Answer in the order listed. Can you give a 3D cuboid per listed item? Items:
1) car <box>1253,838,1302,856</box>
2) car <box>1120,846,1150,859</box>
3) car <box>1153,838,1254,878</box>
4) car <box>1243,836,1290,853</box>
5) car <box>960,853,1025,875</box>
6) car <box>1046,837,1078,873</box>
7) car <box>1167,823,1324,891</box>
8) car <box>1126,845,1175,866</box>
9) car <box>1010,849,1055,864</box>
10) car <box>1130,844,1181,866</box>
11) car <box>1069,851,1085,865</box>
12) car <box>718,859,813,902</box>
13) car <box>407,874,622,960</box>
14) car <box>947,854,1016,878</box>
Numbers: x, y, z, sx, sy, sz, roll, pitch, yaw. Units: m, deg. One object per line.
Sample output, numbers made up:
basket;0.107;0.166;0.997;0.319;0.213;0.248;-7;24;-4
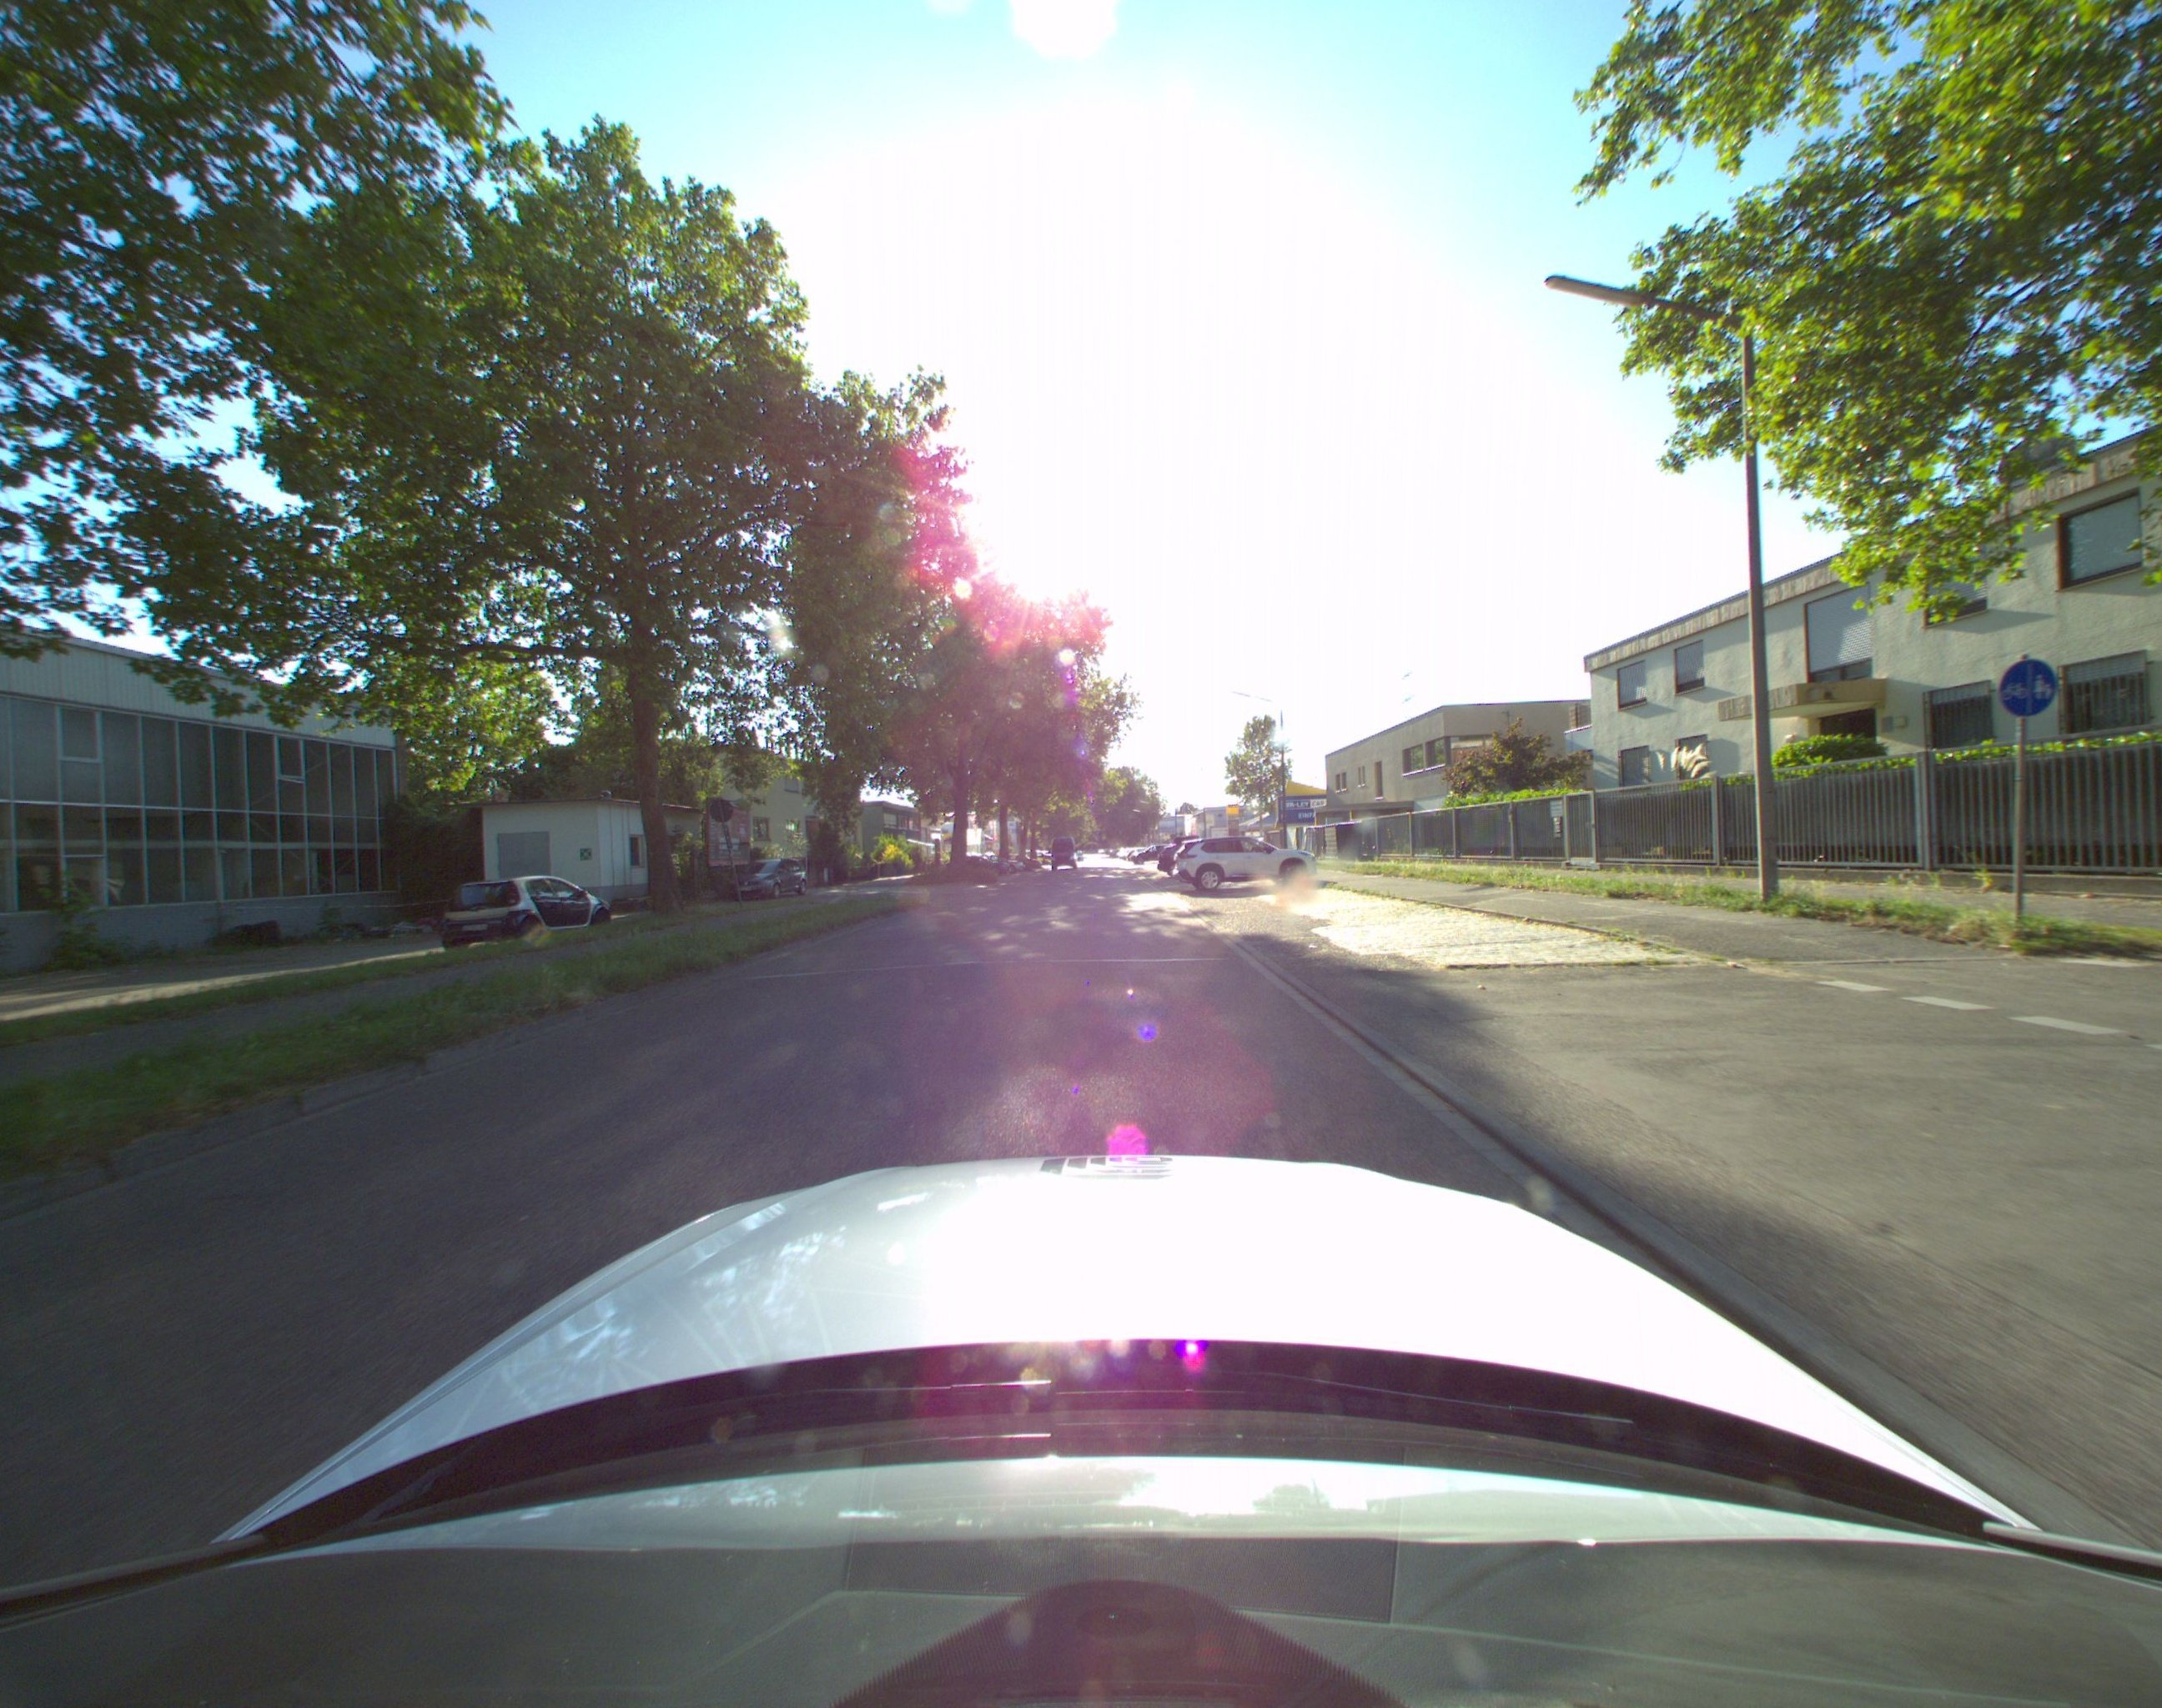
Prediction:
car;17.913;-0.612;74.441;3.978;1.497;1.998;-1;0;-3
car;8.756;-0.248;131.208;4.543;1.597;2.200;-5;0;-2
car;6.046;0.190;40.657;4.611;1.526;1.999;-5;0;-1
car;17.735;-0.886;78.079;3.978;1.519;1.951;-1;0;-3
car;-6.543;0.762;60.702;4.584;1.422;2.000;-2;1;0
car;-1.491;0.015;66.780;2.120;2.659;7.004;-3;1;1
car;5.311;0.092;26.770;4.611;1.711;1.999;-5;0;-1
car;6.816;0.182;80.487;4.585;1.613;2.000;-5;-1;0
car;-4.791;0.225;81.098;4.281;1.446;2.000;-1;-1;0
car;6.847;0.055;75.208;4.582;1.579;2.002;-5;-1;3
car;-0.491;0.501;103.837;1.832;1.571;3.803;-4;0;1
car;-12.741;1.028;33.186;1.985;1.576;4.276;-1;0;3
car;-12.233;1.283;17.978;1.989;1.369;3.916;-7;0;-3
car;-6.702;0.815;55.212;4.341;1.422;1.999;-2;0;-1
